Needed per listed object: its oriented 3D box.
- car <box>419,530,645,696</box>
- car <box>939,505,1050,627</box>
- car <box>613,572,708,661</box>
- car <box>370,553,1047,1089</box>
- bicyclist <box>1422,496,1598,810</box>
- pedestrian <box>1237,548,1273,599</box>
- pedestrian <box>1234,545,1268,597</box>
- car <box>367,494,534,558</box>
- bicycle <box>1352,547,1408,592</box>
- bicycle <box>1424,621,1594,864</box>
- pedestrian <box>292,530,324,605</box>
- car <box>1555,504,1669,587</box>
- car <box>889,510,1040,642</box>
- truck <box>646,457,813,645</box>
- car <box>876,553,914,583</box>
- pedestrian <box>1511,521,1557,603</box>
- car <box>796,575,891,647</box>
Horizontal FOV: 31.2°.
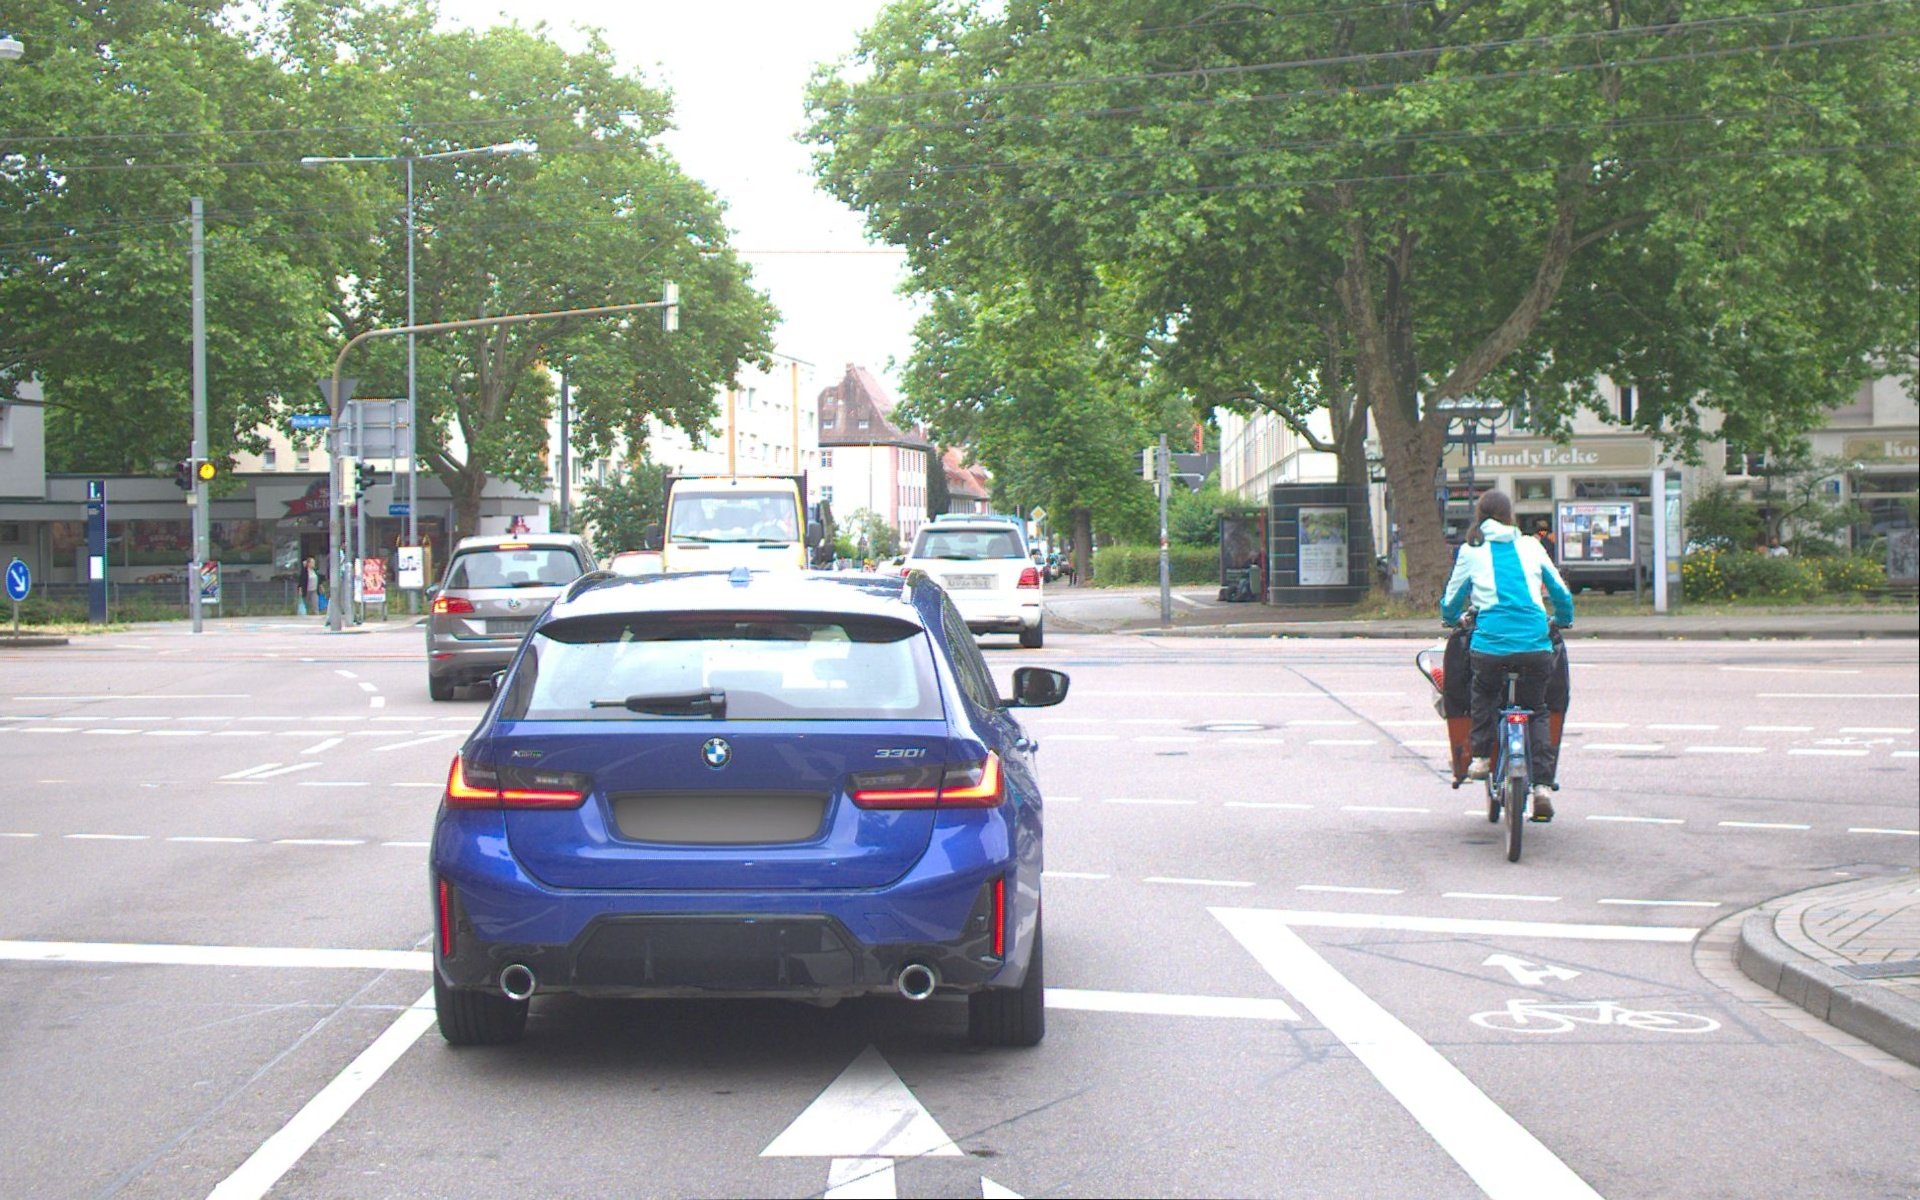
[{"bbox_3d":[-4.169,0.082,34.042,1.732,1.519,4.000,-1,1,0],"label":"car"},{"bbox_3d":[0.566,-0.602,59.035,1.815,1.998,4.000,-1,1,0],"label":"car"},{"bbox_3d":[-7.165,0.376,82.605,1.920,2.007,3.936,-1,1,0],"label":"car"},{"bbox_3d":[-0.633,0.572,11.463,1.815,1.400,4.320,-1,1,1],"label":"car"},{"bbox_3d":[2.739,0.245,17.205,0.686,1.512,1.058,-1,1,0],"label":"bicyclist"},{"bbox_3d":[7.738,-0.705,90.146,0.853,1.310,0.762,-1,1,0],"label":"pedestrian"},{"bbox_3d":[7.721,-0.769,91.092,0.817,1.367,0.762,-1,1,0],"label":"pedestrian"},{"bbox_3d":[-13.725,-1.980,92.685,3.987,1.700,2.000,-1,0,-31],"label":"car"},{"bbox_3d":[11.175,-0.809,91.419,0.779,1.164,2.330,-1,1,25],"label":"bicycle"},{"bbox_3d":[2.756,0.687,17.431,0.494,1.094,2.139,-1,1,0],"label":"bicycle"},{"bbox_3d":[-15.670,-0.776,82.626,0.574,1.779,0.620,-1,1,8],"label":"pedestrian"},{"bbox_3d":[17.988,-1.502,94.732,2.177,2.193,3.995,0,1,24],"label":"car"},{"bbox_3d":[0.039,-0.331,43.866,1.815,1.586,4.000,-1,1,0],"label":"car"},{"bbox_3d":[-3.116,-0.696,47.427,2.074,2.400,5.463,-1,1,-2],"label":"truck"},{"bbox_3d":[-3.322,-1.646,176.184,1.853,1.448,4.167,-1,1,0],"label":"car"},{"bbox_3d":[12.254,-0.812,73.456,0.784,1.737,0.925,-1,1,-1],"label":"pedestrian"},{"bbox_3d":[-2.457,0.218,73.166,1.809,1.422,4.317,-1,1,1],"label":"car"}]
